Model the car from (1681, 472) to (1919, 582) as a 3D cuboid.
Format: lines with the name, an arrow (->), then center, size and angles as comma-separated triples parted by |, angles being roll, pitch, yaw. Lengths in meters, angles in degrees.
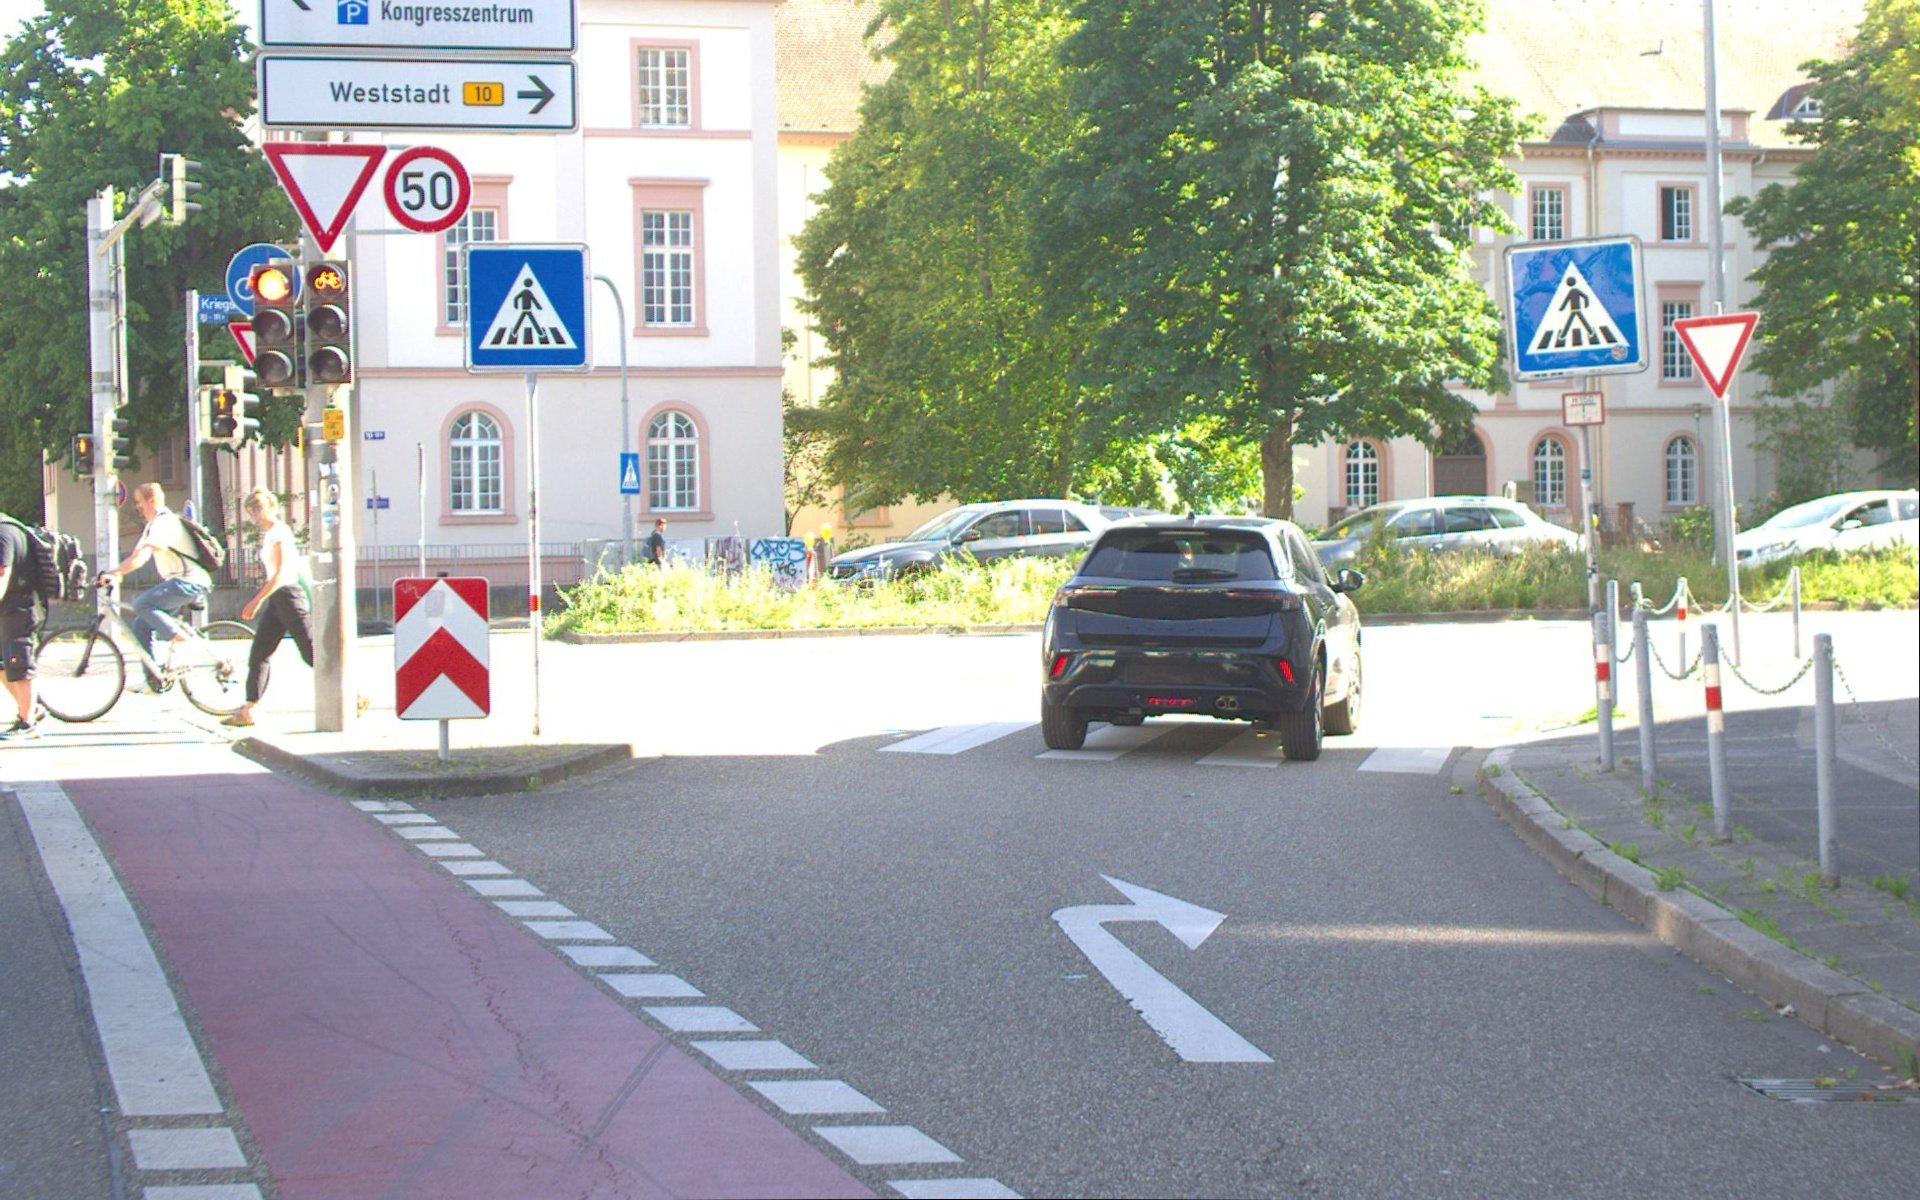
car -> 12.850, -1.094, 50.352 | 4.173, 1.503, 1.823 | -2, 2, -23

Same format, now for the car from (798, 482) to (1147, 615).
car -> 0.161, -0.686, 44.498 | 4.114, 1.596, 1.823 | -2, 2, -23

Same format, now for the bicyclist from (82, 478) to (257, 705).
bicyclist -> -5.819, -0.076, 25.294 | 1.165, 1.628, 0.729 | -1, 1, -20

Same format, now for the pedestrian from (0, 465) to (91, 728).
pedestrian -> -6.240, -0.034, 22.715 | 0.825, 1.696, 0.918 | -1, 1, -23

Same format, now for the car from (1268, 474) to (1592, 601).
car -> 6.494, -0.879, 47.546 | 3.986, 1.638, 1.924 | -2, 2, -21

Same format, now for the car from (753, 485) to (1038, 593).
car -> -1.022, -0.985, 54.554 | 4.114, 1.596, 1.823 | -2, 2, -23

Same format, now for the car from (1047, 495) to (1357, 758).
car -> 1.688, 0.104, 22.967 | 1.746, 1.568, 3.557 | 0, 2, 9

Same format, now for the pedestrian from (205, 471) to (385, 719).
pedestrian -> -4.615, -0.049, 23.845 | 1.040, 1.654, 0.784 | -2, 2, -23

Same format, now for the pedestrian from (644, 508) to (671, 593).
pedestrian -> -5.822, -0.954, 66.202 | 0.440, 1.610, 0.467 | 1, 0, -11

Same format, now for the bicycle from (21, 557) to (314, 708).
bicycle -> -5.817, 0.226, 25.236 | 2.031, 1.057, 0.622 | -1, 1, -20
